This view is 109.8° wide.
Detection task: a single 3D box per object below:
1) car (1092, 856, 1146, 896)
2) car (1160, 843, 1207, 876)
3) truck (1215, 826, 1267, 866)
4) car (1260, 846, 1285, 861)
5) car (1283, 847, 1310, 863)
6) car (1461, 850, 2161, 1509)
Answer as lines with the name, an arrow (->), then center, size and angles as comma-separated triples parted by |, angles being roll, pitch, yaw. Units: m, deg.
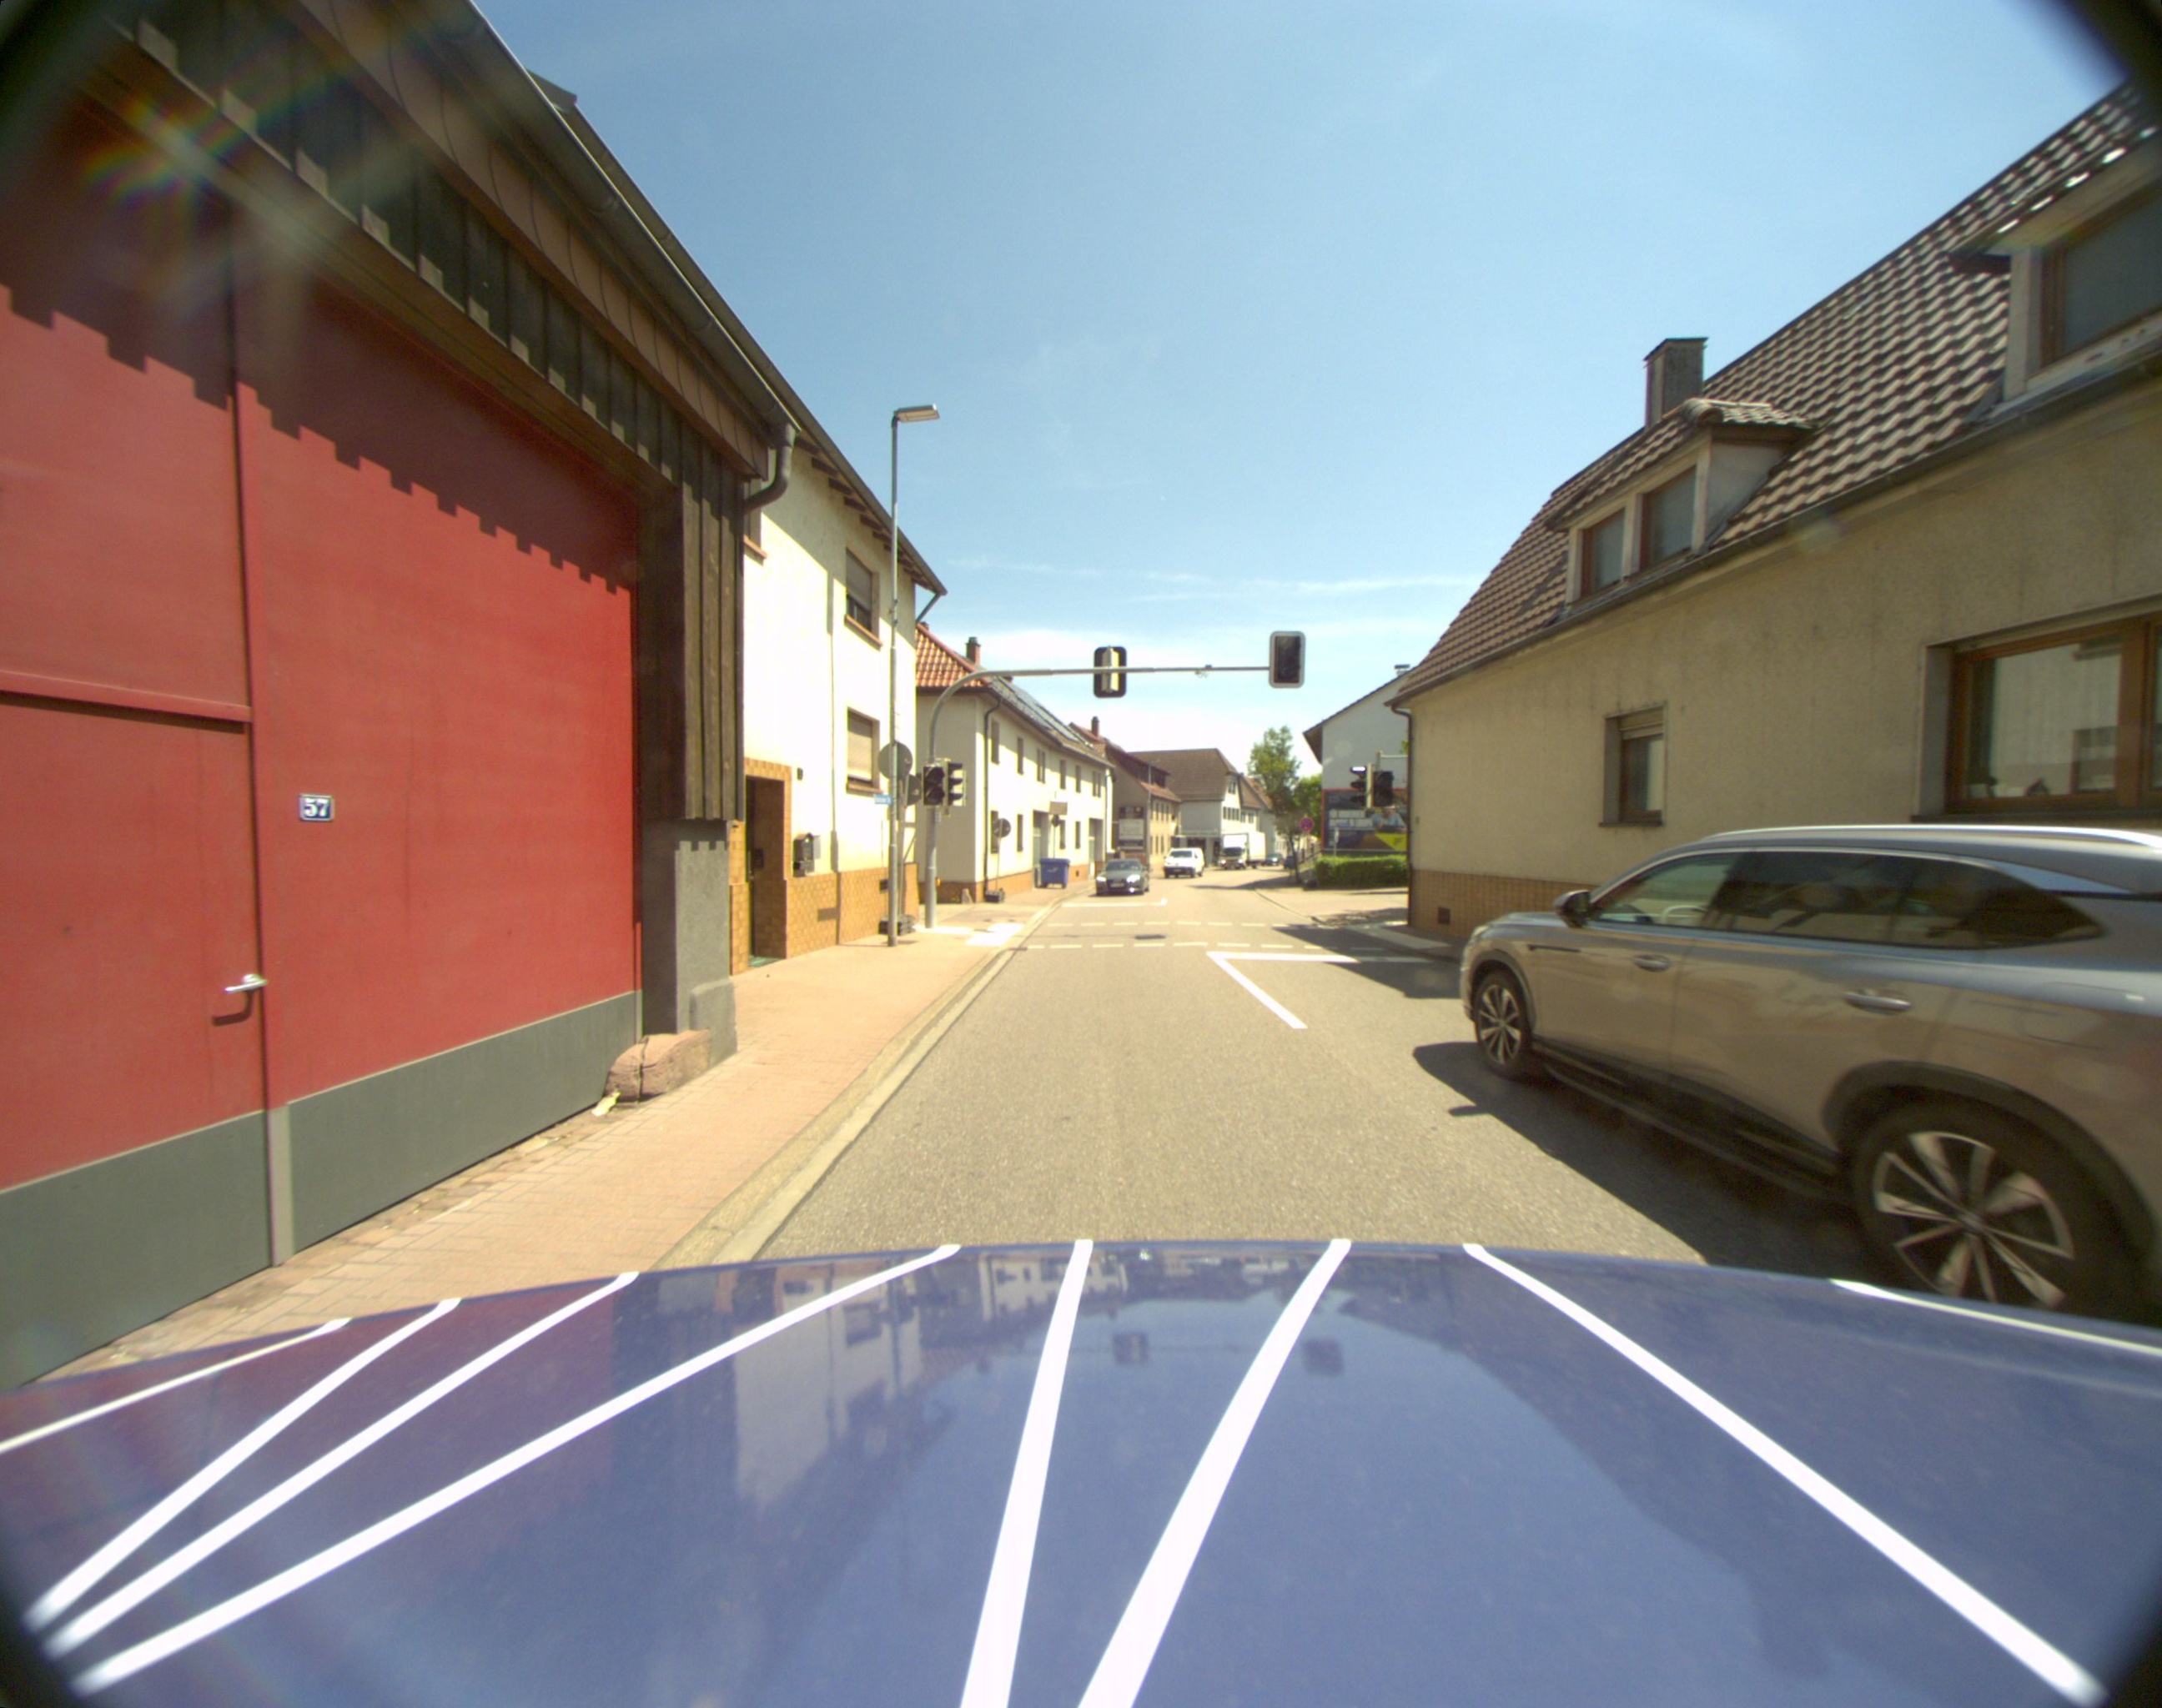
car -> 1.540, 0.798, 29.433 | 1.785, 1.365, 3.608 | 0, 1, 8
car -> 6.773, 0.315, 49.859 | 2.076, 1.949, 5.525 | 0, 2, 18
truck -> 15.171, -0.800, 71.591 | 2.861, 3.493, 8.333 | 2, 2, 25
car -> 20.677, -0.092, 81.962 | 1.864, 1.521, 4.006 | -2, 1, 25
car -> 20.993, 0.116, 73.957 | 1.783, 1.421, 4.147 | 0, 2, 26
car -> 3.625, 0.800, 3.358 | 1.834, 1.612, 4.260 | 0, 1, 1
